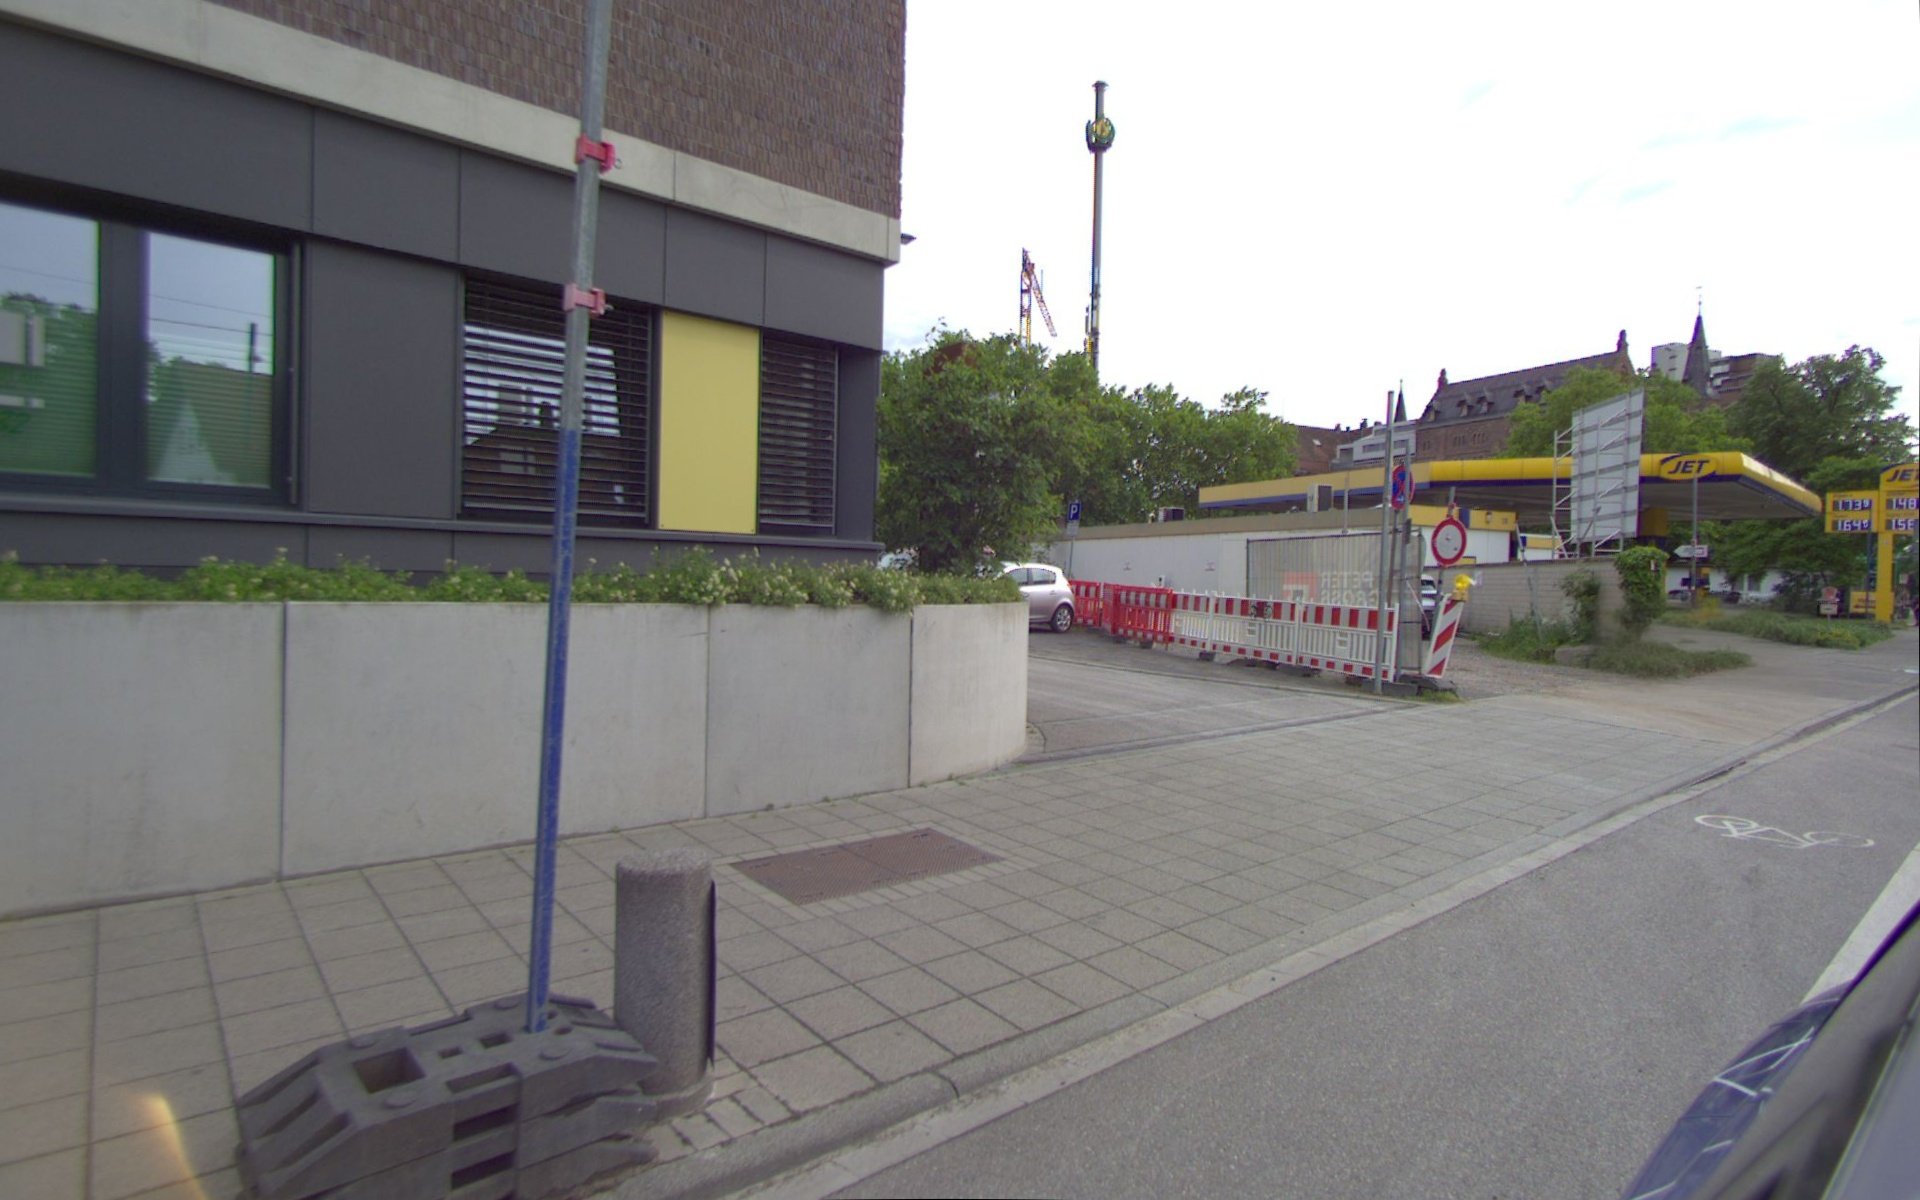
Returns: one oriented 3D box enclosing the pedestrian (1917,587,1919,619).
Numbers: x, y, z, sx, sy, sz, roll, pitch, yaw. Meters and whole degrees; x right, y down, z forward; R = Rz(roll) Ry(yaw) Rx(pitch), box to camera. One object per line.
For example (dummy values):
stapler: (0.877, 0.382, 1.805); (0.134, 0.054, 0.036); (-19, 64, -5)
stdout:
pedestrian: (53.070, 0.201, 55.213); (0.858, 1.768, 0.847); (4, 3, 17)

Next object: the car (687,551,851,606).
car: (-5.424, -0.604, 28.962); (4.266, 1.435, 1.769); (0, 3, -36)

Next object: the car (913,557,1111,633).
car: (1.196, -0.146, 21.729); (4.274, 1.435, 1.765); (-1, 3, -43)

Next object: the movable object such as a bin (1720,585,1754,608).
movable object such as a bin: (47.053, -0.207, 61.303); (1.136, 1.336, 1.123); (0, 1, -13)

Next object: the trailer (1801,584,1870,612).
trailer: (57.066, -0.162, 65.980); (3.283, 1.549, 1.747); (4, 5, 43)

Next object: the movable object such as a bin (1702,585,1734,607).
movable object such as a bin: (46.773, -0.257, 62.442); (1.136, 1.376, 1.123); (0, 1, -13)

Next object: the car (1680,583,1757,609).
car: (51.355, -0.277, 68.549); (3.986, 1.687, 1.969); (1, 1, 43)

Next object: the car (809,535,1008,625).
car: (-1.123, -0.477, 23.427); (4.345, 1.867, 1.926); (-1, 3, -42)

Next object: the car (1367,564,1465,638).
car: (11.465, -0.046, 25.703); (1.976, 1.657, 3.923); (2, 3, 21)
